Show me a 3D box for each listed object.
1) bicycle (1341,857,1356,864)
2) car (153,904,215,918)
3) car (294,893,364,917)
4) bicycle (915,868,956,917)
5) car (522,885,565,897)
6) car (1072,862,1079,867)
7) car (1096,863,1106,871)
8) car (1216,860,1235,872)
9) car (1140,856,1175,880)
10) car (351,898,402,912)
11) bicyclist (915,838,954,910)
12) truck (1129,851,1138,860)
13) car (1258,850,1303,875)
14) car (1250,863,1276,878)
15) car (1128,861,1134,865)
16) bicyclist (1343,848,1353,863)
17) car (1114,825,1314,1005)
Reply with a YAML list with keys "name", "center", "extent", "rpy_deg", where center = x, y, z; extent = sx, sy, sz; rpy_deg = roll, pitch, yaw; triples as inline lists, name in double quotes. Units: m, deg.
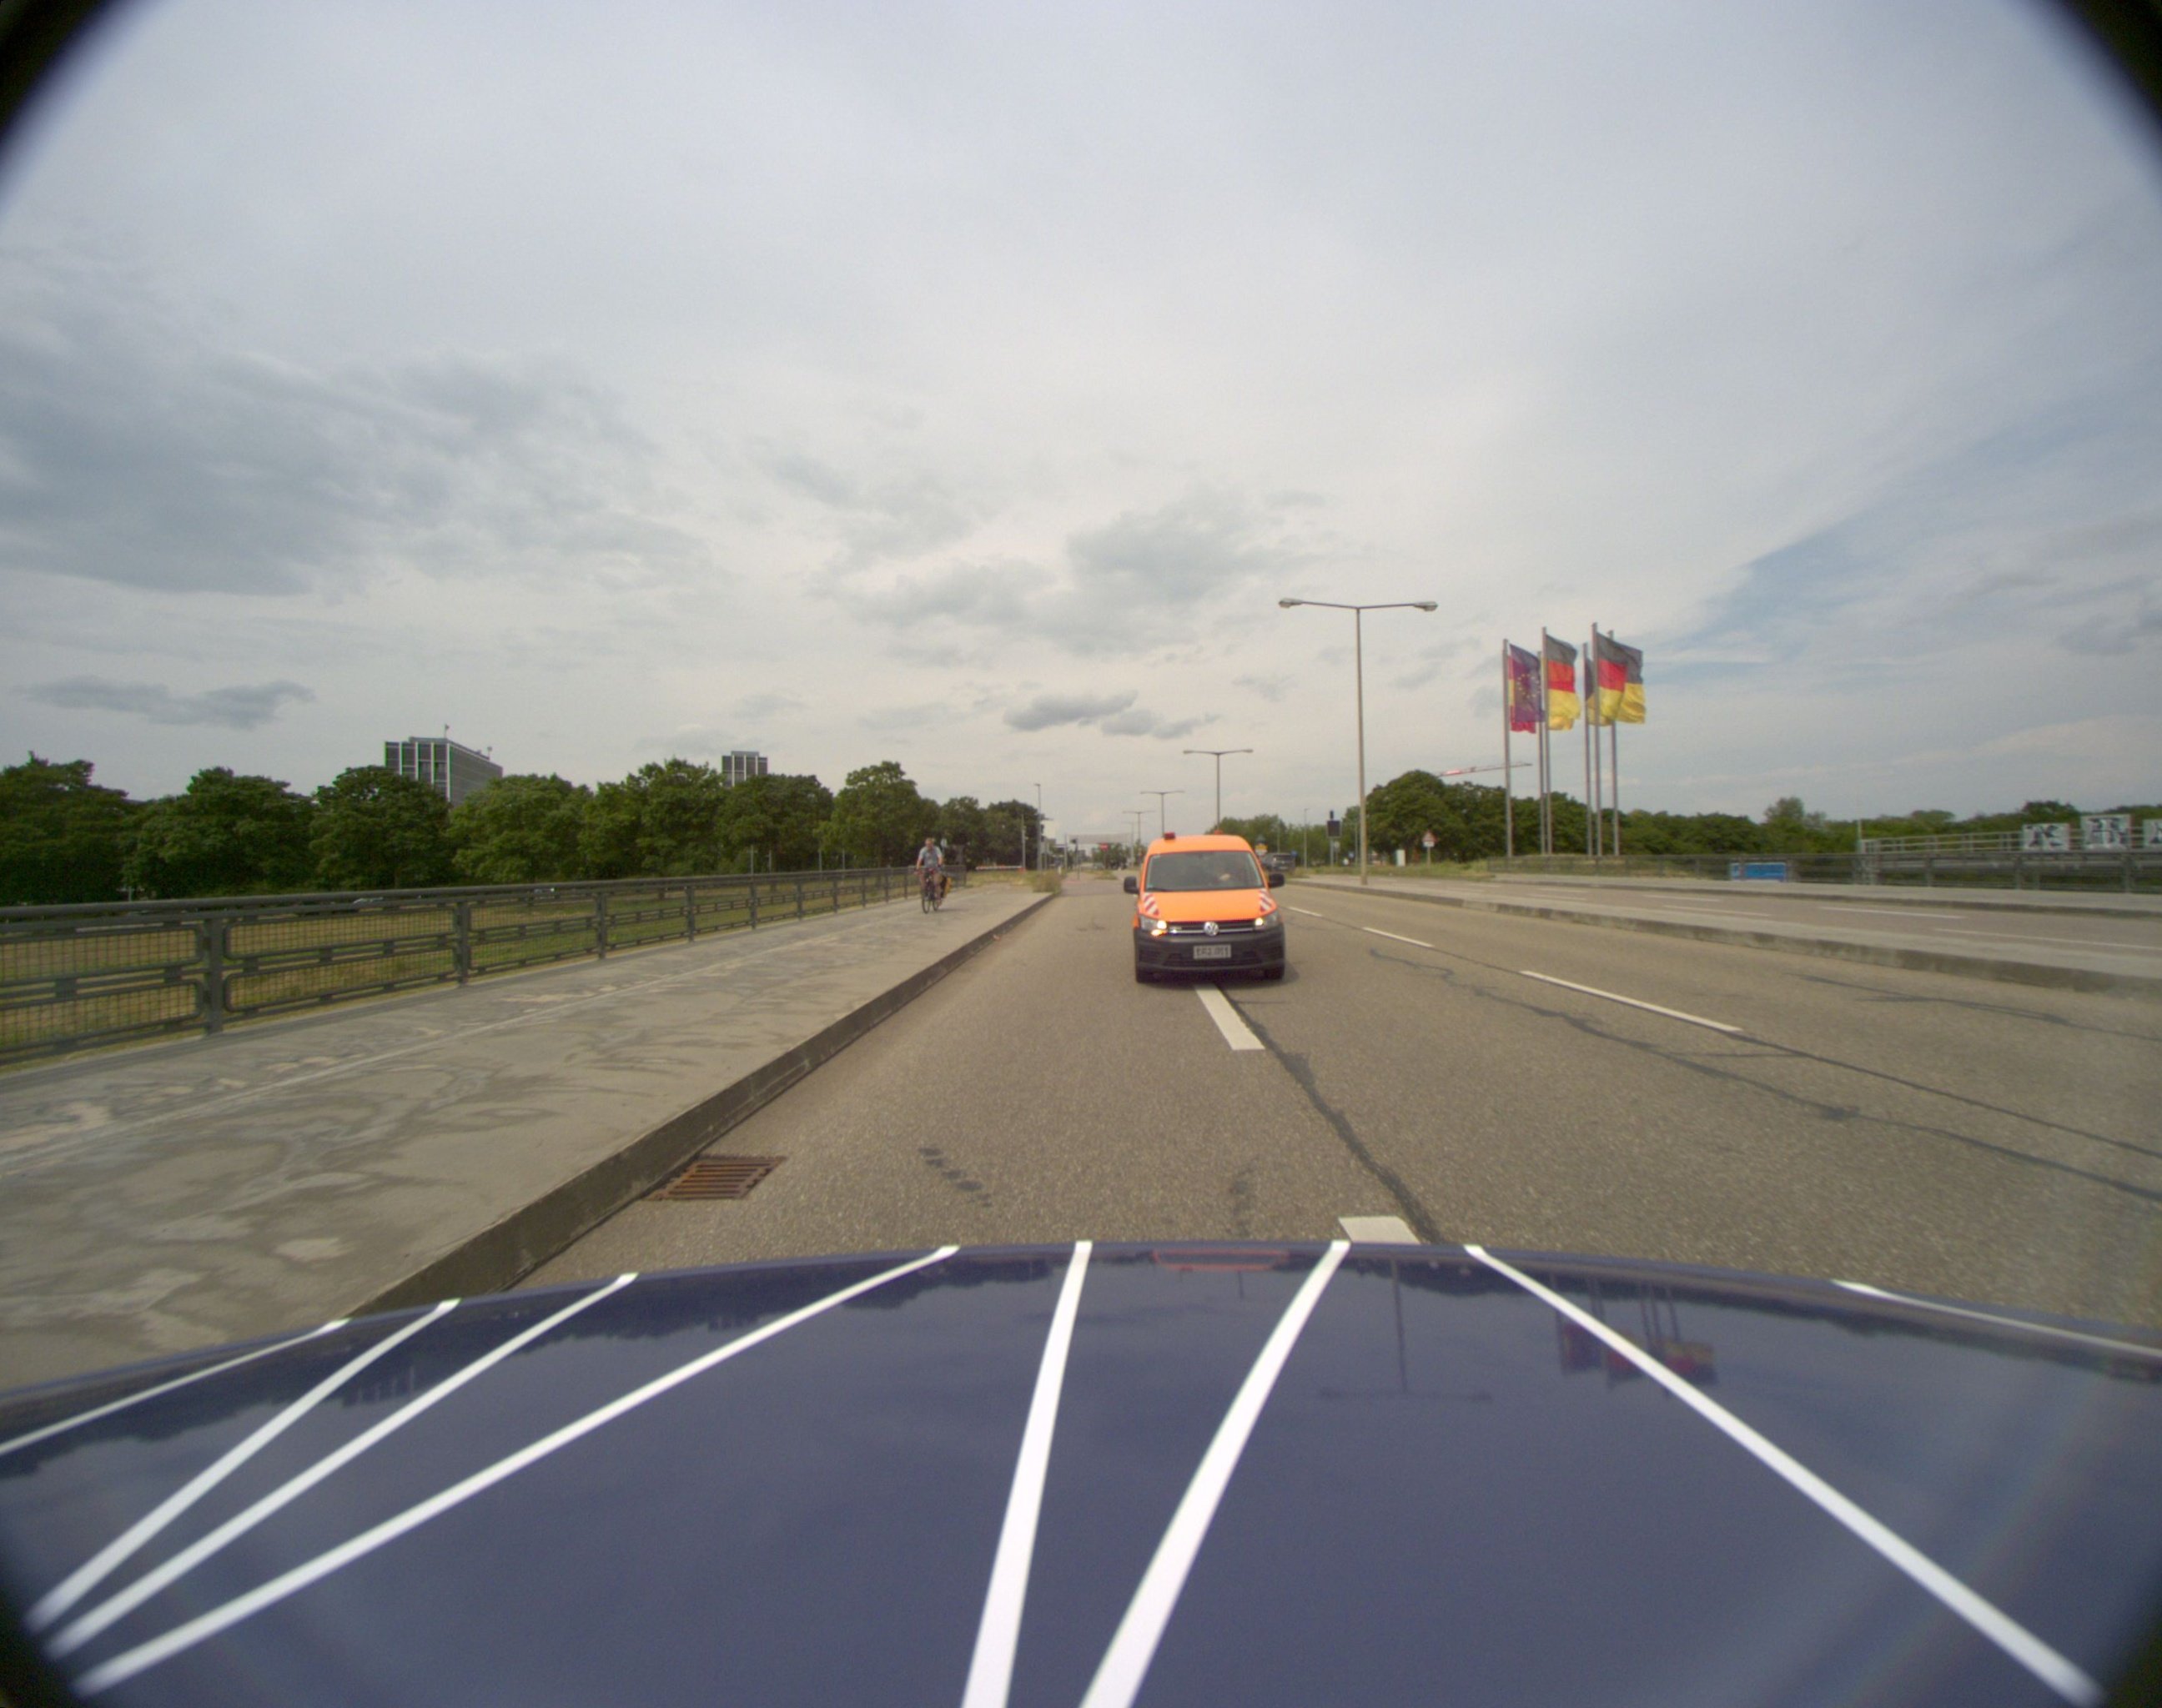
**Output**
- name: "bicycle"
  center: [28.401, 0.653, 80.682]
  extent: [0.820, 0.729, 2.222]
  rpy_deg: [-1, 0, 2]
- name: "car"
  center: [-90.680, 5.785, 76.879]
  extent: [3.687, 1.124, 1.676]
  rpy_deg: [-2, 0, -23]
- name: "car"
  center: [-74.325, 5.018, 75.205]
  extent: [4.476, 2.002, 1.997]
  rpy_deg: [-1, 0, -22]
- name: "bicycle"
  center: [-3.716, 0.963, 19.513]
  extent: [0.815, 1.134, 1.763]
  rpy_deg: [1, 0, -5]
- name: "car"
  center: [-61.634, 4.251, 87.152]
  extent: [3.687, 1.124, 1.676]
  rpy_deg: [-2, 0, -23]
- name: "car"
  center: [-1.585, 3.064, 219.936]
  extent: [1.695, 1.230, 3.470]
  rpy_deg: [-2, 0, 1]
- name: "car"
  center: [3.195, 2.060, 122.556]
  extent: [1.558, 1.230, 3.470]
  rpy_deg: [-2, 0, 1]
- name: "car"
  center: [18.319, 1.517, 96.359]
  extent: [1.695, 1.485, 4.000]
  rpy_deg: [0, 0, 0]
- name: "car"
  center: [4.809, 0.853, 47.967]
  extent: [1.695, 1.403, 3.683]
  rpy_deg: [-2, 0, -1]
- name: "car"
  center: [-76.641, 5.535, 82.748]
  extent: [3.687, 1.265, 1.676]
  rpy_deg: [-2, 0, -23]
- name: "bicyclist"
  center: [-3.727, 0.505, 19.410]
  extent: [0.873, 1.791, 0.956]
  rpy_deg: [1, 0, -5]
- name: "truck"
  center: [12.711, 0.353, 184.924]
  extent: [1.998, 2.002, 4.000]
  rpy_deg: [-1, 0, 0]
- name: "car"
  center: [13.759, 0.583, 52.687]
  extent: [1.998, 1.630, 4.662]
  rpy_deg: [1, 0, 1]
- name: "car"
  center: [18.523, 1.635, 77.664]
  extent: [1.695, 1.485, 4.000]
  rpy_deg: [0, 0, 0]
- name: "car"
  center: [16.698, 3.013, 255.153]
  extent: [1.695, 1.230, 3.470]
  rpy_deg: [-2, 0, 1]
- name: "bicyclist"
  center: [28.375, 0.135, 80.666]
  extent: [0.820, 1.583, 0.737]
  rpy_deg: [-1, 0, 2]
- name: "car"
  center: [1.499, 0.666, 10.227]
  extent: [1.892, 1.824, 4.431]
  rpy_deg: [-2, 0, 1]
